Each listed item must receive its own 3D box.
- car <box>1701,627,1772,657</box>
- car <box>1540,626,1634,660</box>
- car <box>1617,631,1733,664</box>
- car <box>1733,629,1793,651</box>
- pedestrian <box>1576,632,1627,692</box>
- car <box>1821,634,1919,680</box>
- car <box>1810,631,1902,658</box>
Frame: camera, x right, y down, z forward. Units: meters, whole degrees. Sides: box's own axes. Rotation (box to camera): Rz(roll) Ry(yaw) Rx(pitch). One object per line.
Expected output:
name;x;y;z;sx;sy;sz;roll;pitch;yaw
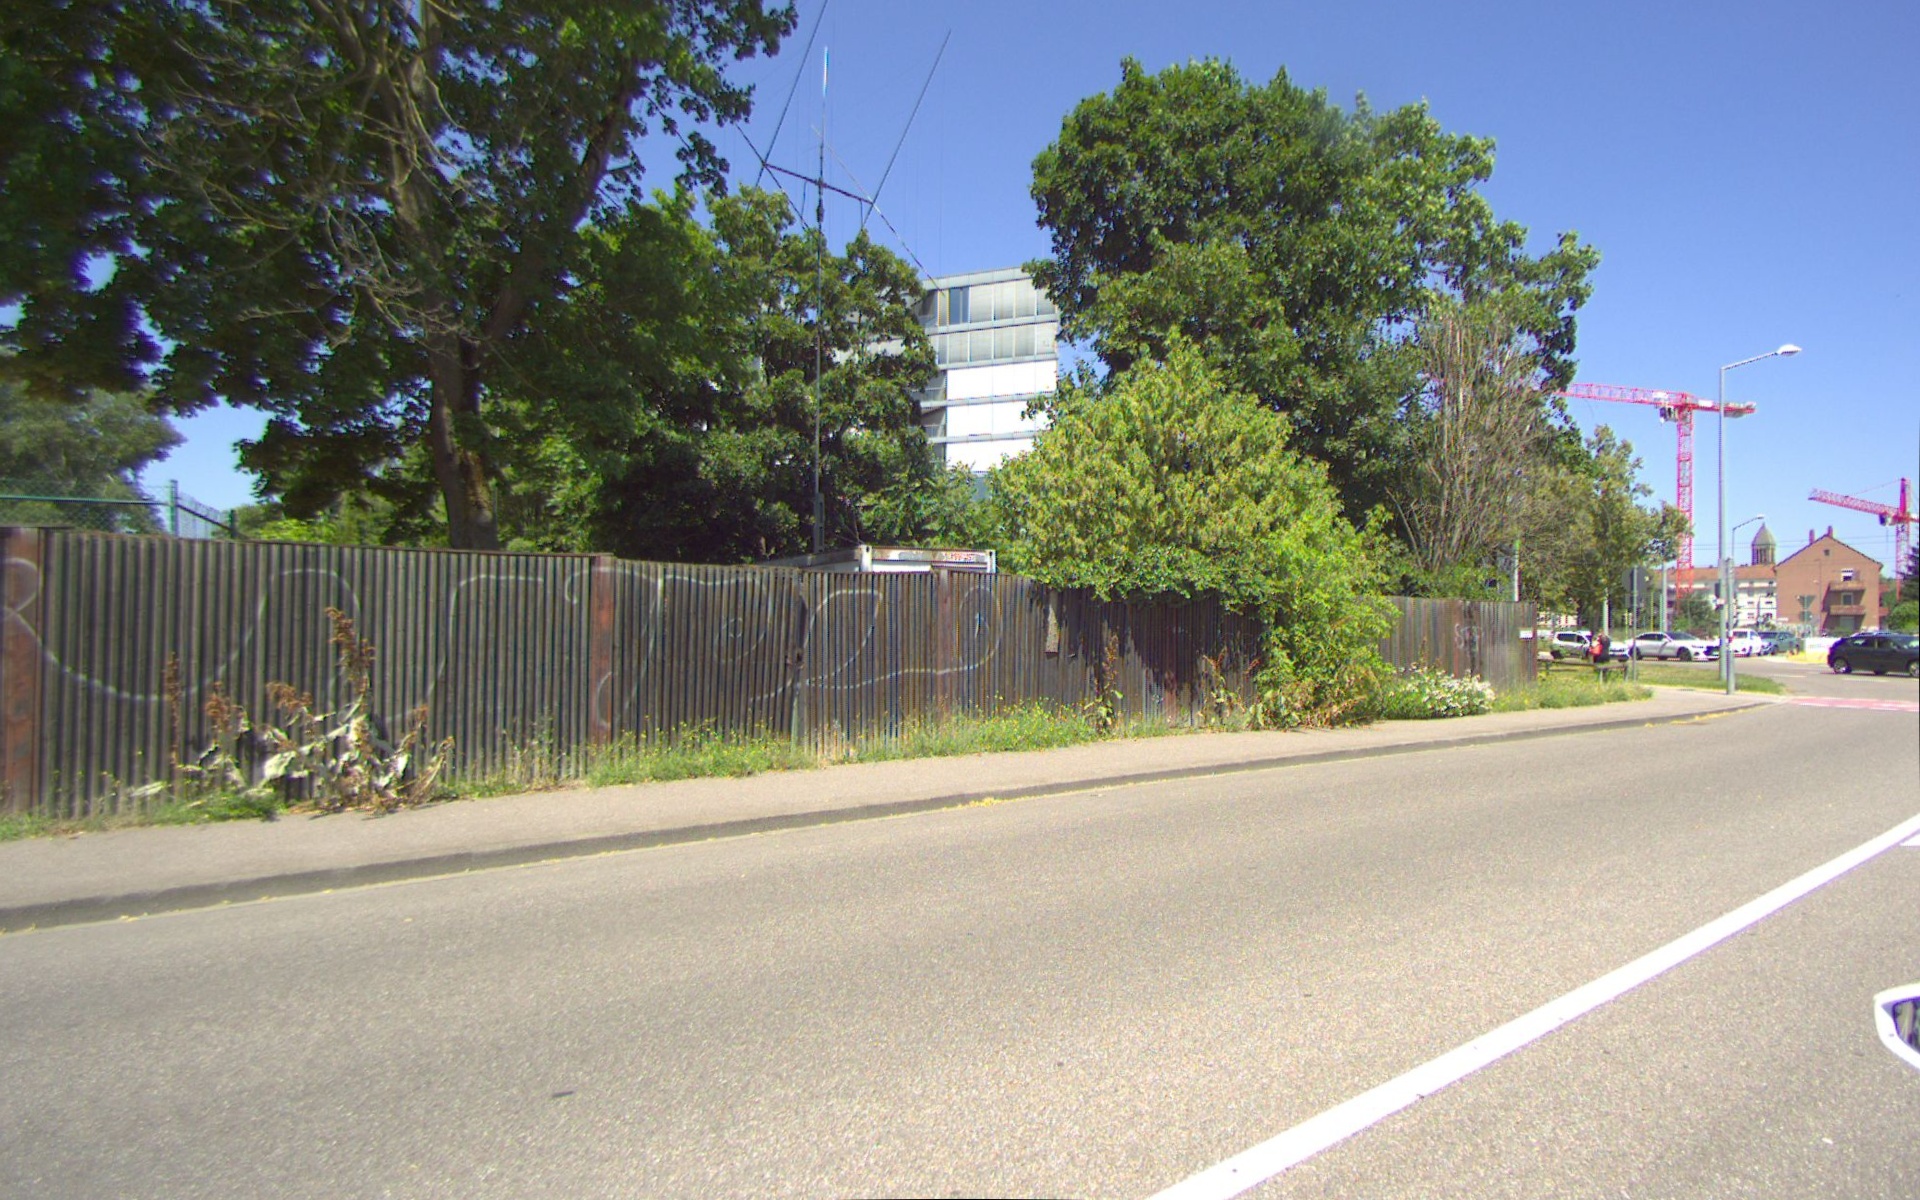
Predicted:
car;43.203;2.316;55.882;3.953;1.570;1.748;2;-1;-30
car;32.488;2.176;52.187;1.961;1.587;4.589;1;-1;-1
car;37.287;2.447;52.579;1.965;1.529;4.997;1;-1;-11
car;47.417;2.352;59.298;3.746;1.253;1.697;2;-1;-33
pedestrian;17.610;1.686;27.584;0.795;1.584;0.876;1;0;-4
car;32.700;1.969;34.769;1.962;1.461;4.216;1;-1;-5
car;56.310;2.792;63.157;4.136;1.520;1.713;1;-1;3
